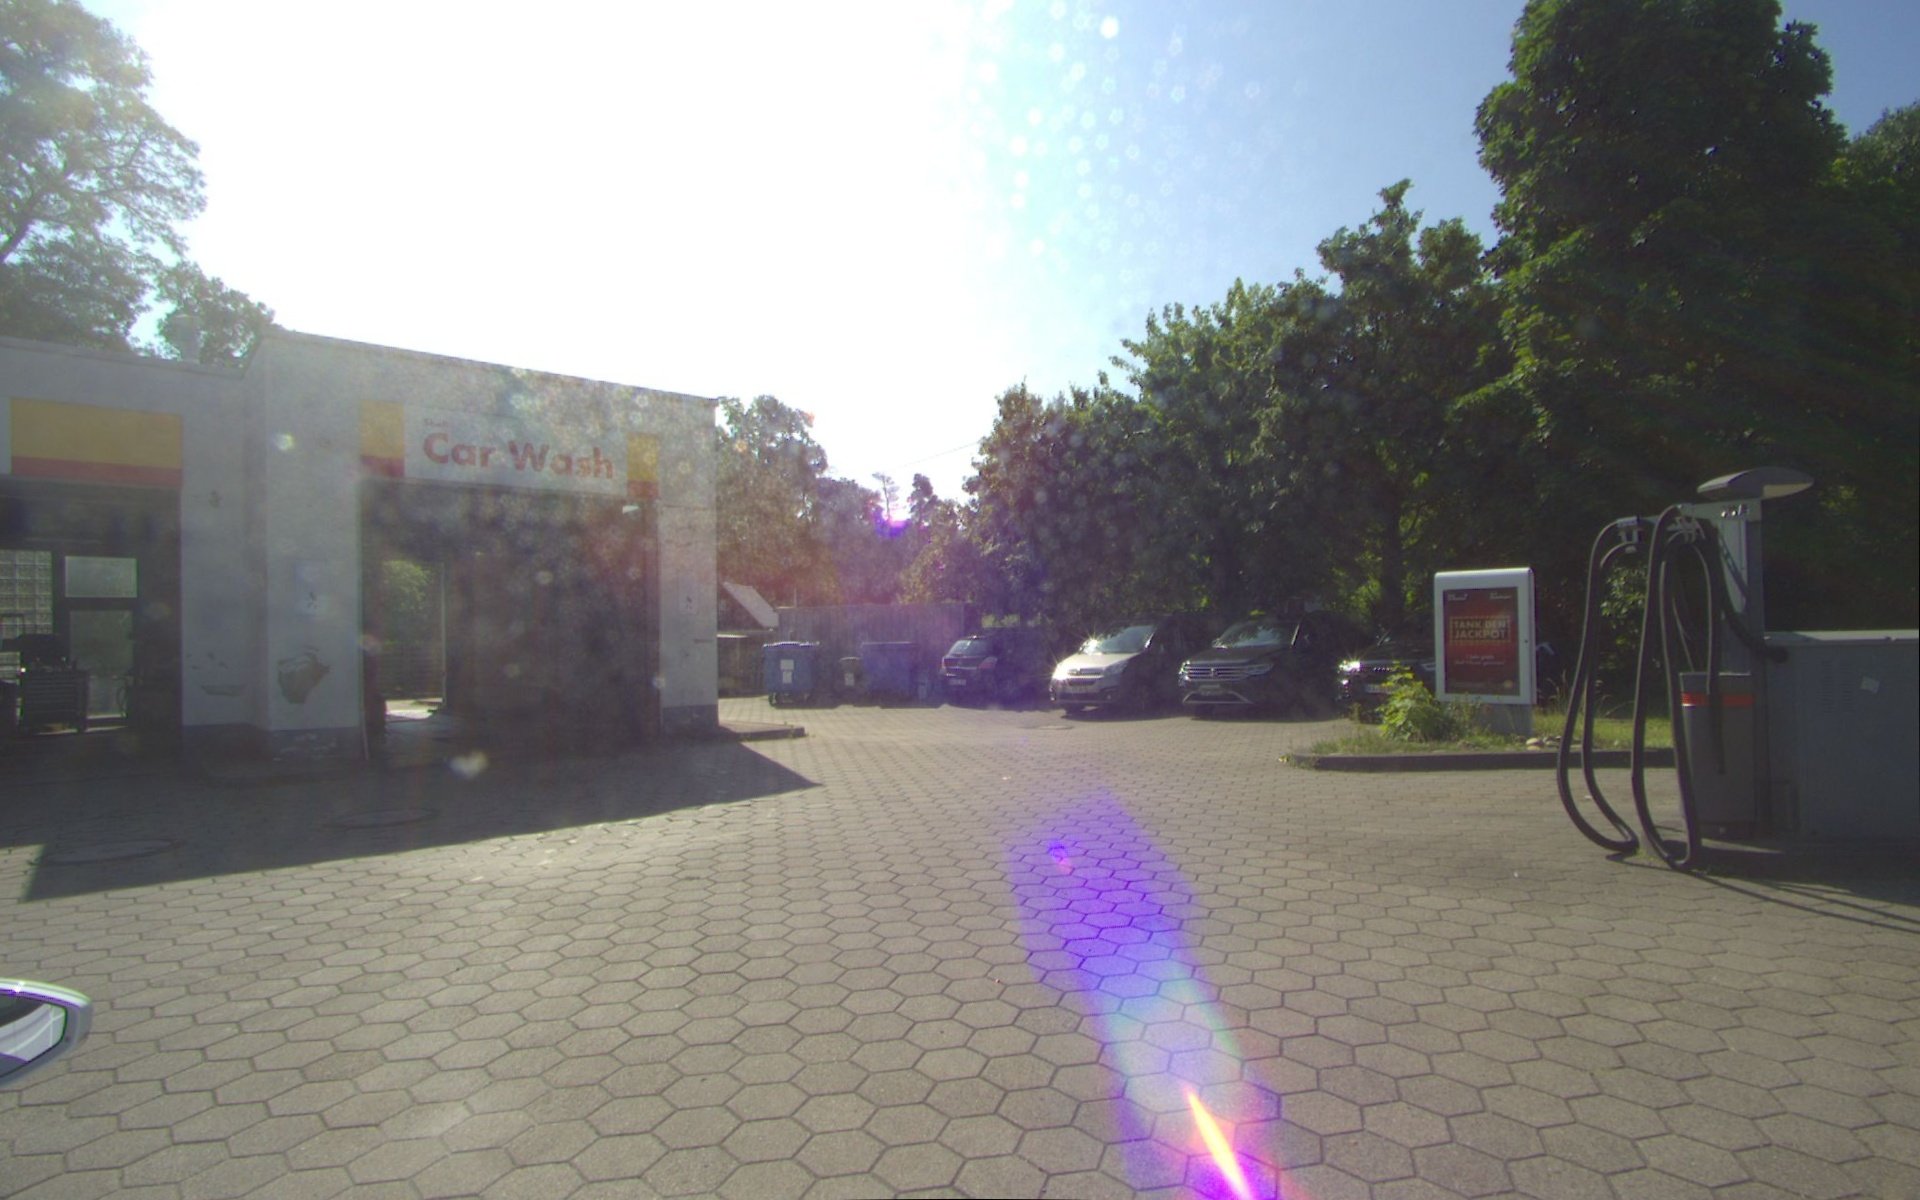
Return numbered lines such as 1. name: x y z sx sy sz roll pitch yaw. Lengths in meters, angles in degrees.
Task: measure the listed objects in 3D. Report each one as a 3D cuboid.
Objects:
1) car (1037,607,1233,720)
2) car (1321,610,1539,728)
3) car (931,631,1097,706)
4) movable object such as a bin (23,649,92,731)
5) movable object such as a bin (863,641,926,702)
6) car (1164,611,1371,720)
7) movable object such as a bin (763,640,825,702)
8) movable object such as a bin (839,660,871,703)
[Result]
1. car: 3.421 1.138 19.169 3.899 1.816 1.668 -3 0 -44
2. car: 7.149 0.964 15.053 3.901 1.530 1.668 1 -3 -44
3. car: 1.233 1.442 21.985 3.472 1.457 1.669 0 -1 -41
4. movable object such as a bin: -14.395 1.427 15.990 0.790 1.251 0.540 0 -3 -40
5. movable object such as a bin: -1.454 1.585 22.271 1.212 1.306 0.866 -1 -2 11
6. car: 5.322 1.057 17.090 3.901 1.649 1.668 1 -3 -44
7. movable object such as a bin: -3.705 1.588 22.443 1.211 1.342 0.850 -1 -2 2
8. movable object such as a bin: -2.351 1.812 22.427 0.484 0.921 0.866 -1 -2 9
